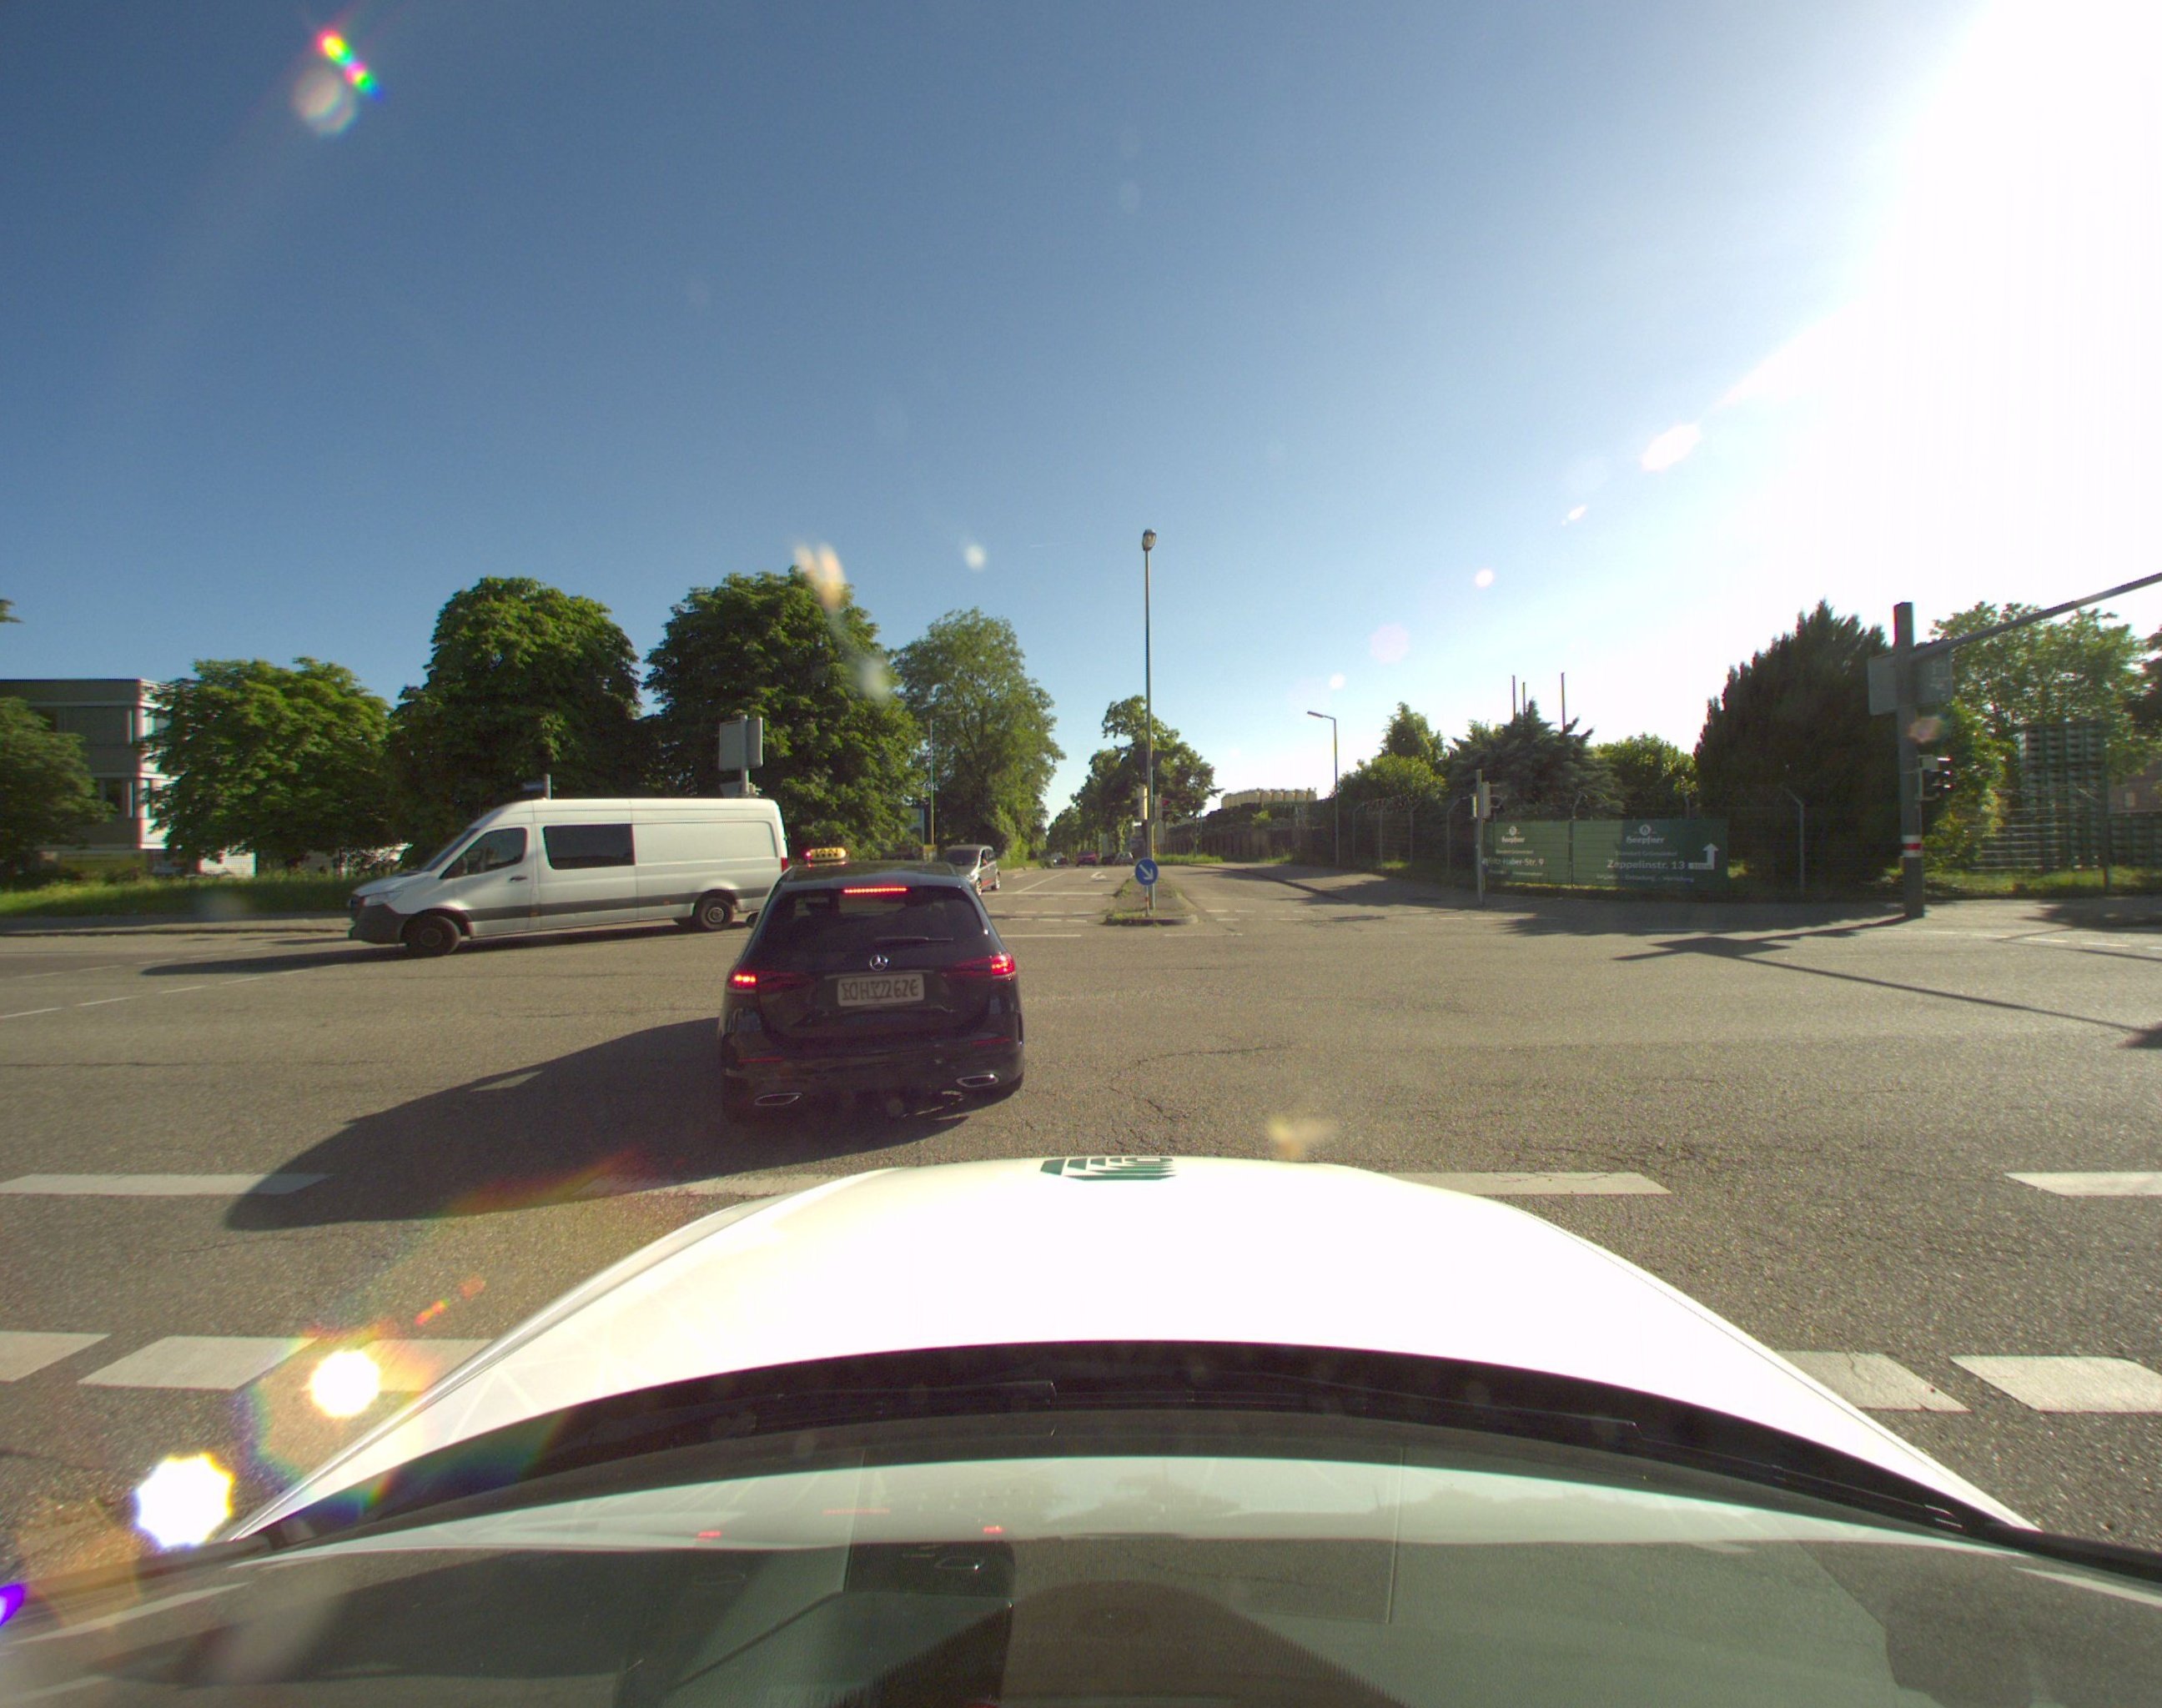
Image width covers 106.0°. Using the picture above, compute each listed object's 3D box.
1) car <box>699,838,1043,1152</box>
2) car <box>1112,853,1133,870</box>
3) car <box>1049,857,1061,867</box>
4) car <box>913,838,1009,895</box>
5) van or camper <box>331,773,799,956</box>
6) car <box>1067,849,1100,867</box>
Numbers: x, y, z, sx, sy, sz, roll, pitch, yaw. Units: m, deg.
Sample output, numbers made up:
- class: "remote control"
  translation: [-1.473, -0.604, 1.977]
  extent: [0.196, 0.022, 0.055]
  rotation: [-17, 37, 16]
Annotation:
- class: "car"
  translation: [-1.502, 0.730, 6.340]
  extent: [1.771, 1.592, 3.972]
  rotation: [-1, 0, -12]
- class: "car"
  translation: [4.310, 0.764, 84.432]
  extent: [1.686, 1.632, 3.125]
  rotation: [-1, 0, -5]
- class: "car"
  translation: [-4.116, 1.257, 130.672]
  extent: [1.853, 1.469, 4.135]
  rotation: [-1, 0, -2]
- class: "car"
  translation: [-3.680, 0.363, 25.765]
  extent: [1.793, 1.640, 4.011]
  rotation: [-1, 0, 10]
- class: "van or camper"
  translation: [-9.240, 0.167, 15.370]
  extent: [7.116, 2.739, 2.207]
  rotation: [0, -1, -40]
- class: "car"
  translation: [0.180, 0.372, 69.953]
  extent: [1.860, 1.469, 4.119]
  rotation: [-1, 0, -14]
